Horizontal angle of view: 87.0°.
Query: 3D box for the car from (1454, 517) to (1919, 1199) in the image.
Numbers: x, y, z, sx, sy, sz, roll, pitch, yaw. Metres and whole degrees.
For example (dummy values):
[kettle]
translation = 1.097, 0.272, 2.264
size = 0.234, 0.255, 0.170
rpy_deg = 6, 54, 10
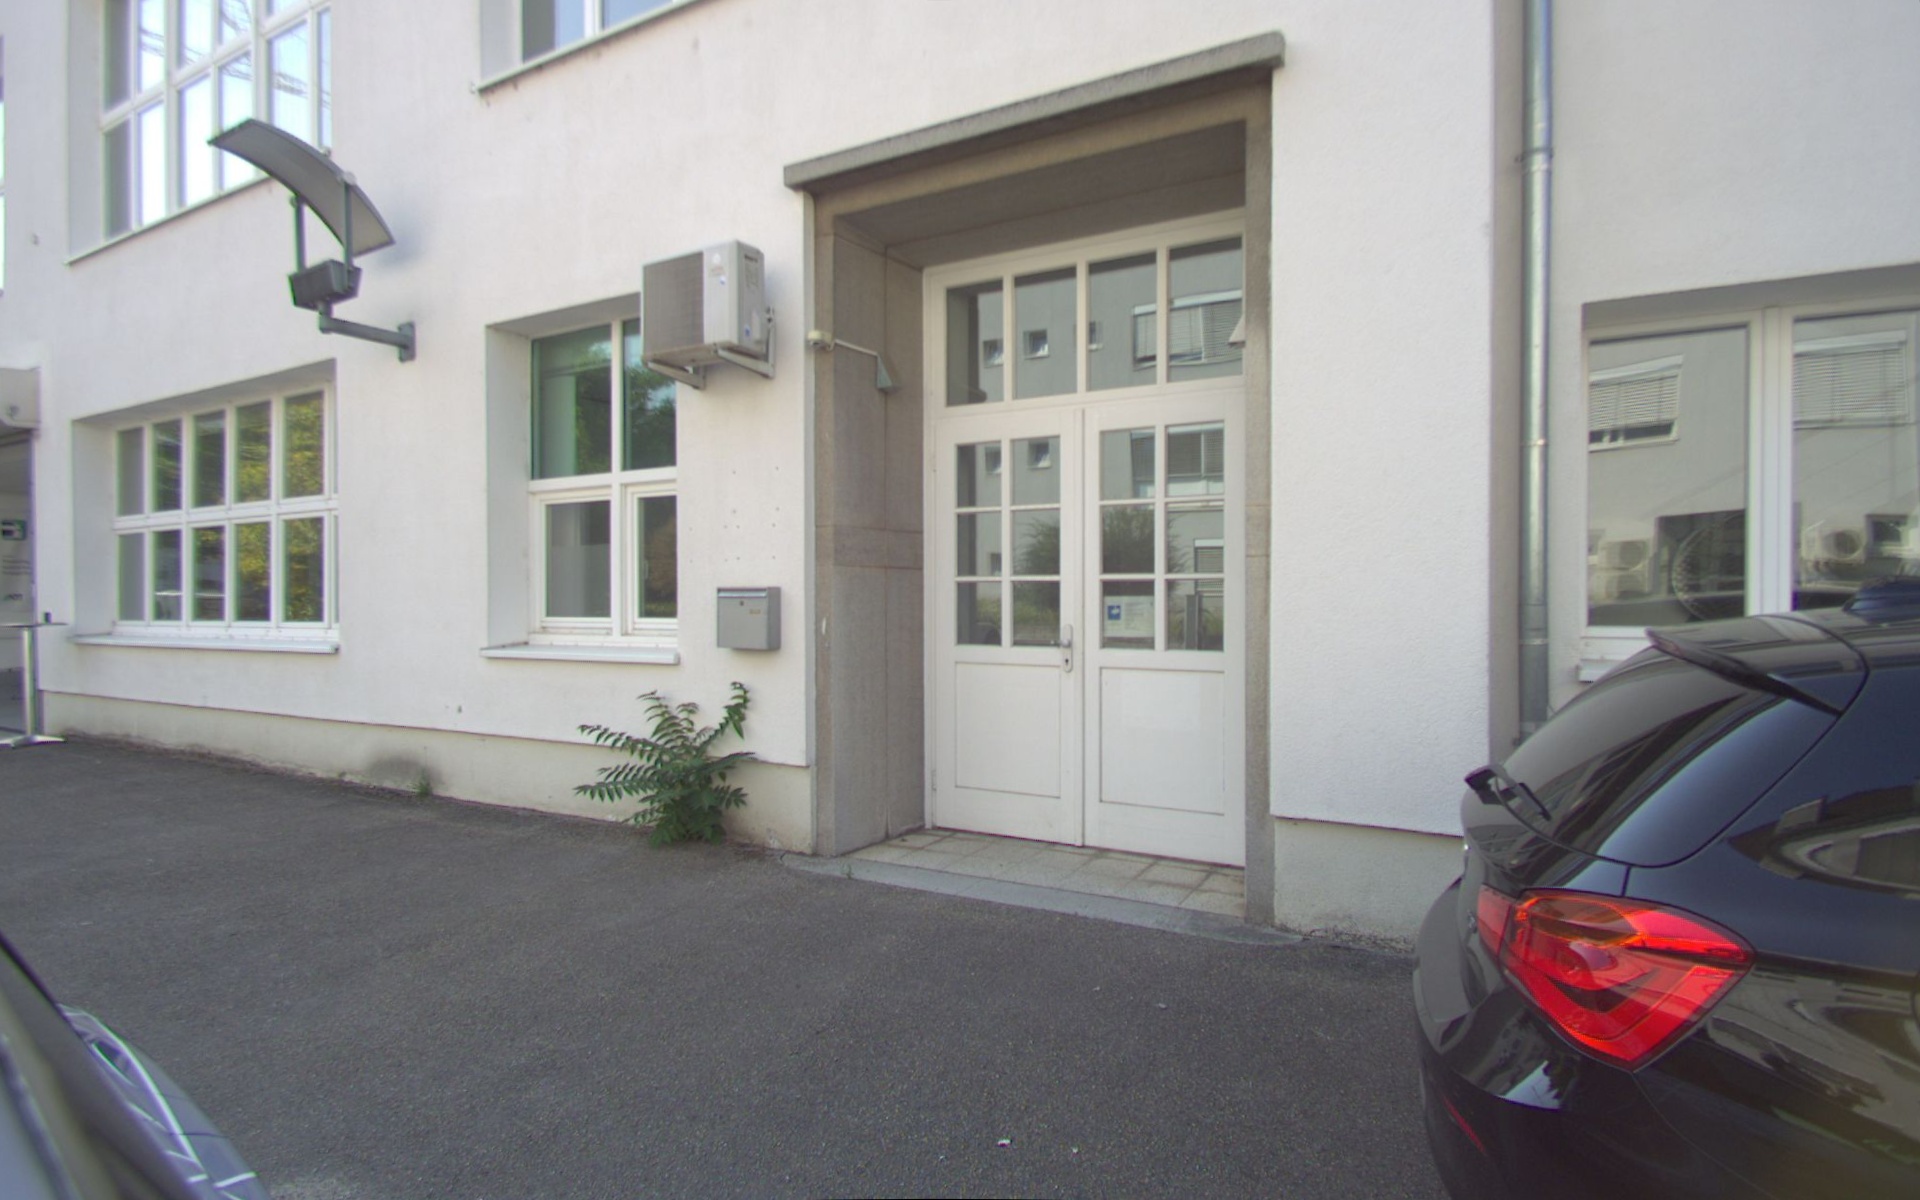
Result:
[car]
translation = 2.902, 0.596, 1.219
size = 4.116, 1.439, 1.782
rpy_deg = -1, 1, 28
